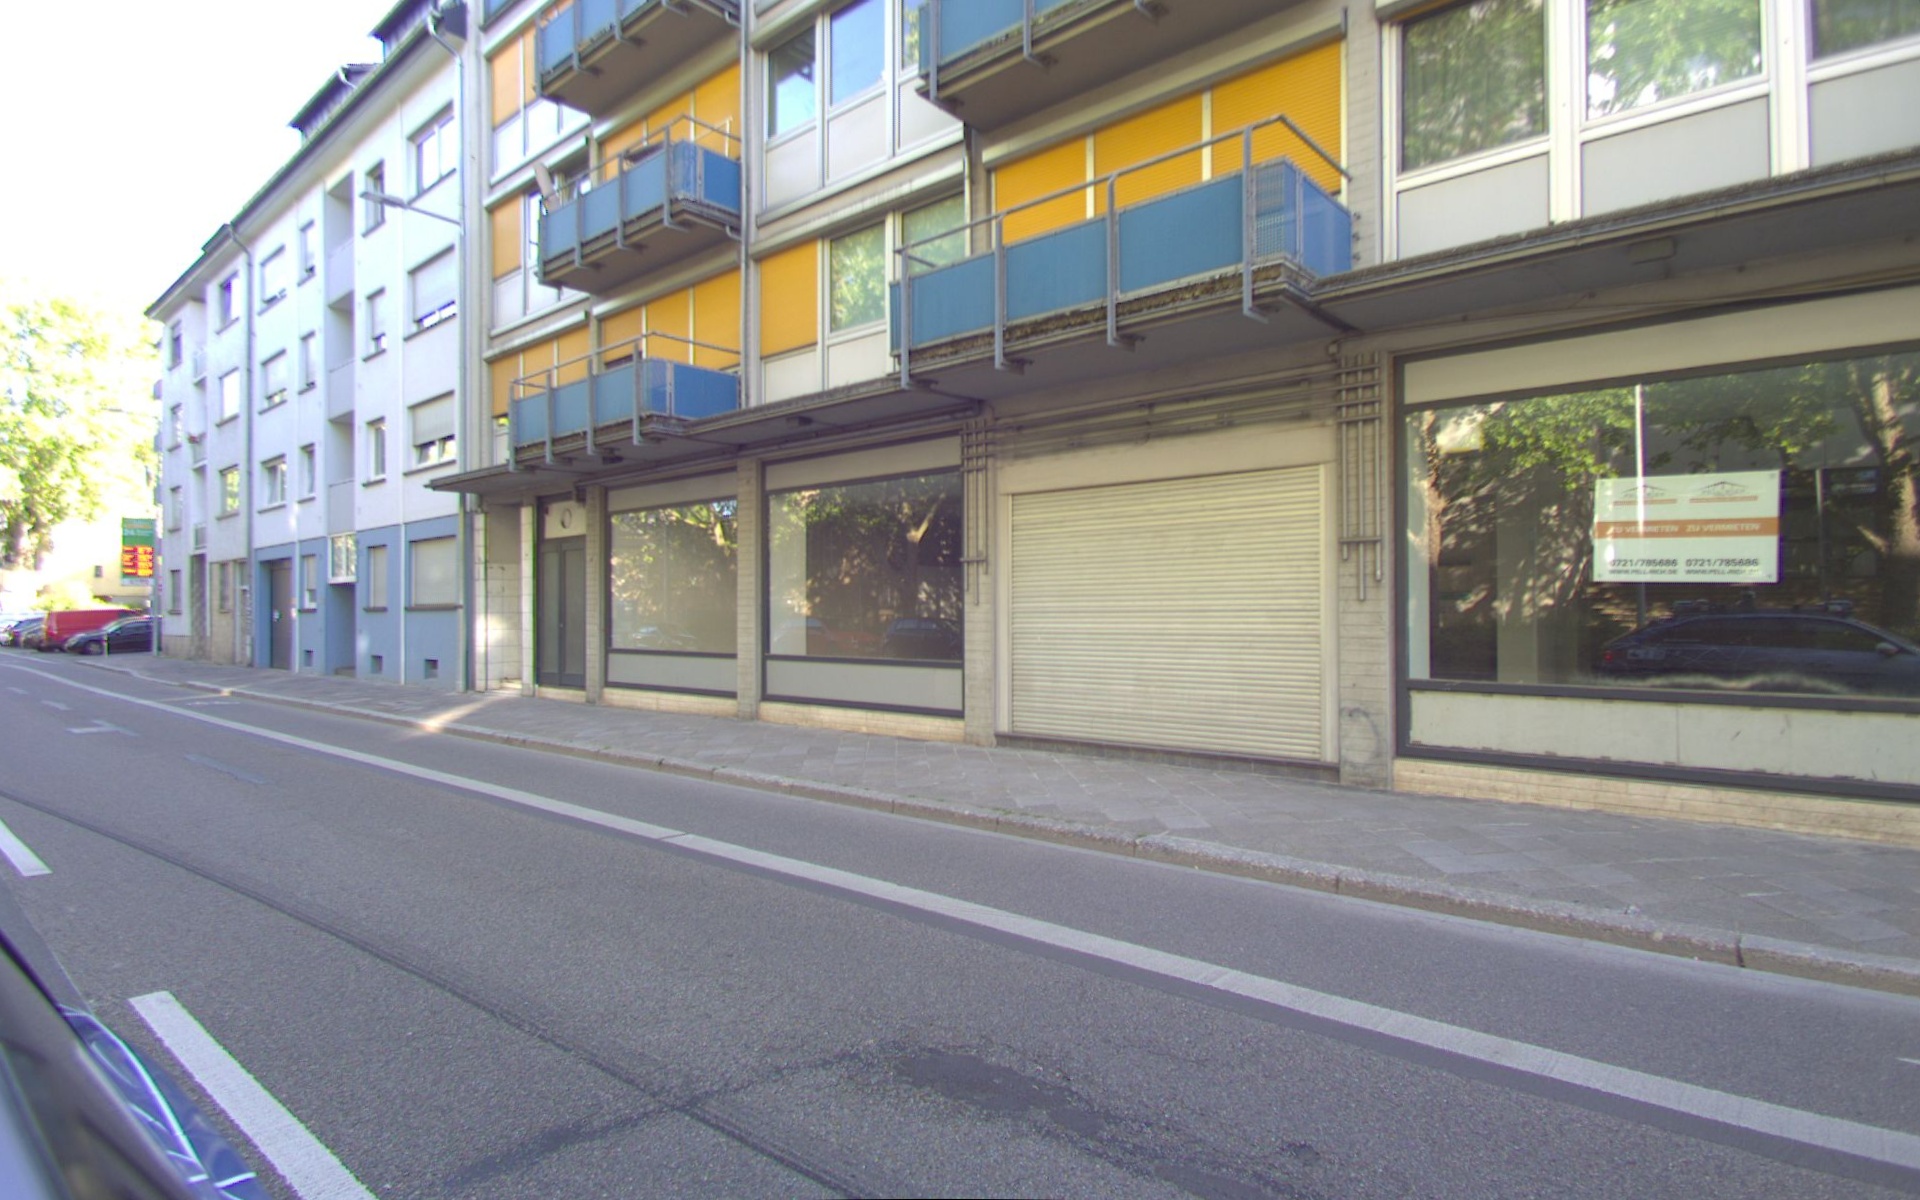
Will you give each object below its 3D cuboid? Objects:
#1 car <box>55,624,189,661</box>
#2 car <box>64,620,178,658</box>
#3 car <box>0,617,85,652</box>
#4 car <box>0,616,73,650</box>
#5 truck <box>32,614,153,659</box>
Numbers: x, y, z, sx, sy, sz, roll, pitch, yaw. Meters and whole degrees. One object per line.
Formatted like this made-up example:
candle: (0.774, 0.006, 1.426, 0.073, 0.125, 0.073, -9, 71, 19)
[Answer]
car: (-36.496, 1.797, 44.160, 1.657, 1.417, 4.269, -1, 0, 40)
car: (-38.046, 1.733, 45.943, 1.657, 1.583, 3.762, -1, 0, 41)
car: (-56.061, 2.069, 61.472, 2.000, 1.971, 4.180, -1, 0, 43)
car: (-59.345, 2.098, 64.402, 2.000, 2.052, 4.180, -1, 0, 43)
truck: (-40.723, 1.651, 47.575, 1.999, 1.939, 4.040, -1, 0, 40)
